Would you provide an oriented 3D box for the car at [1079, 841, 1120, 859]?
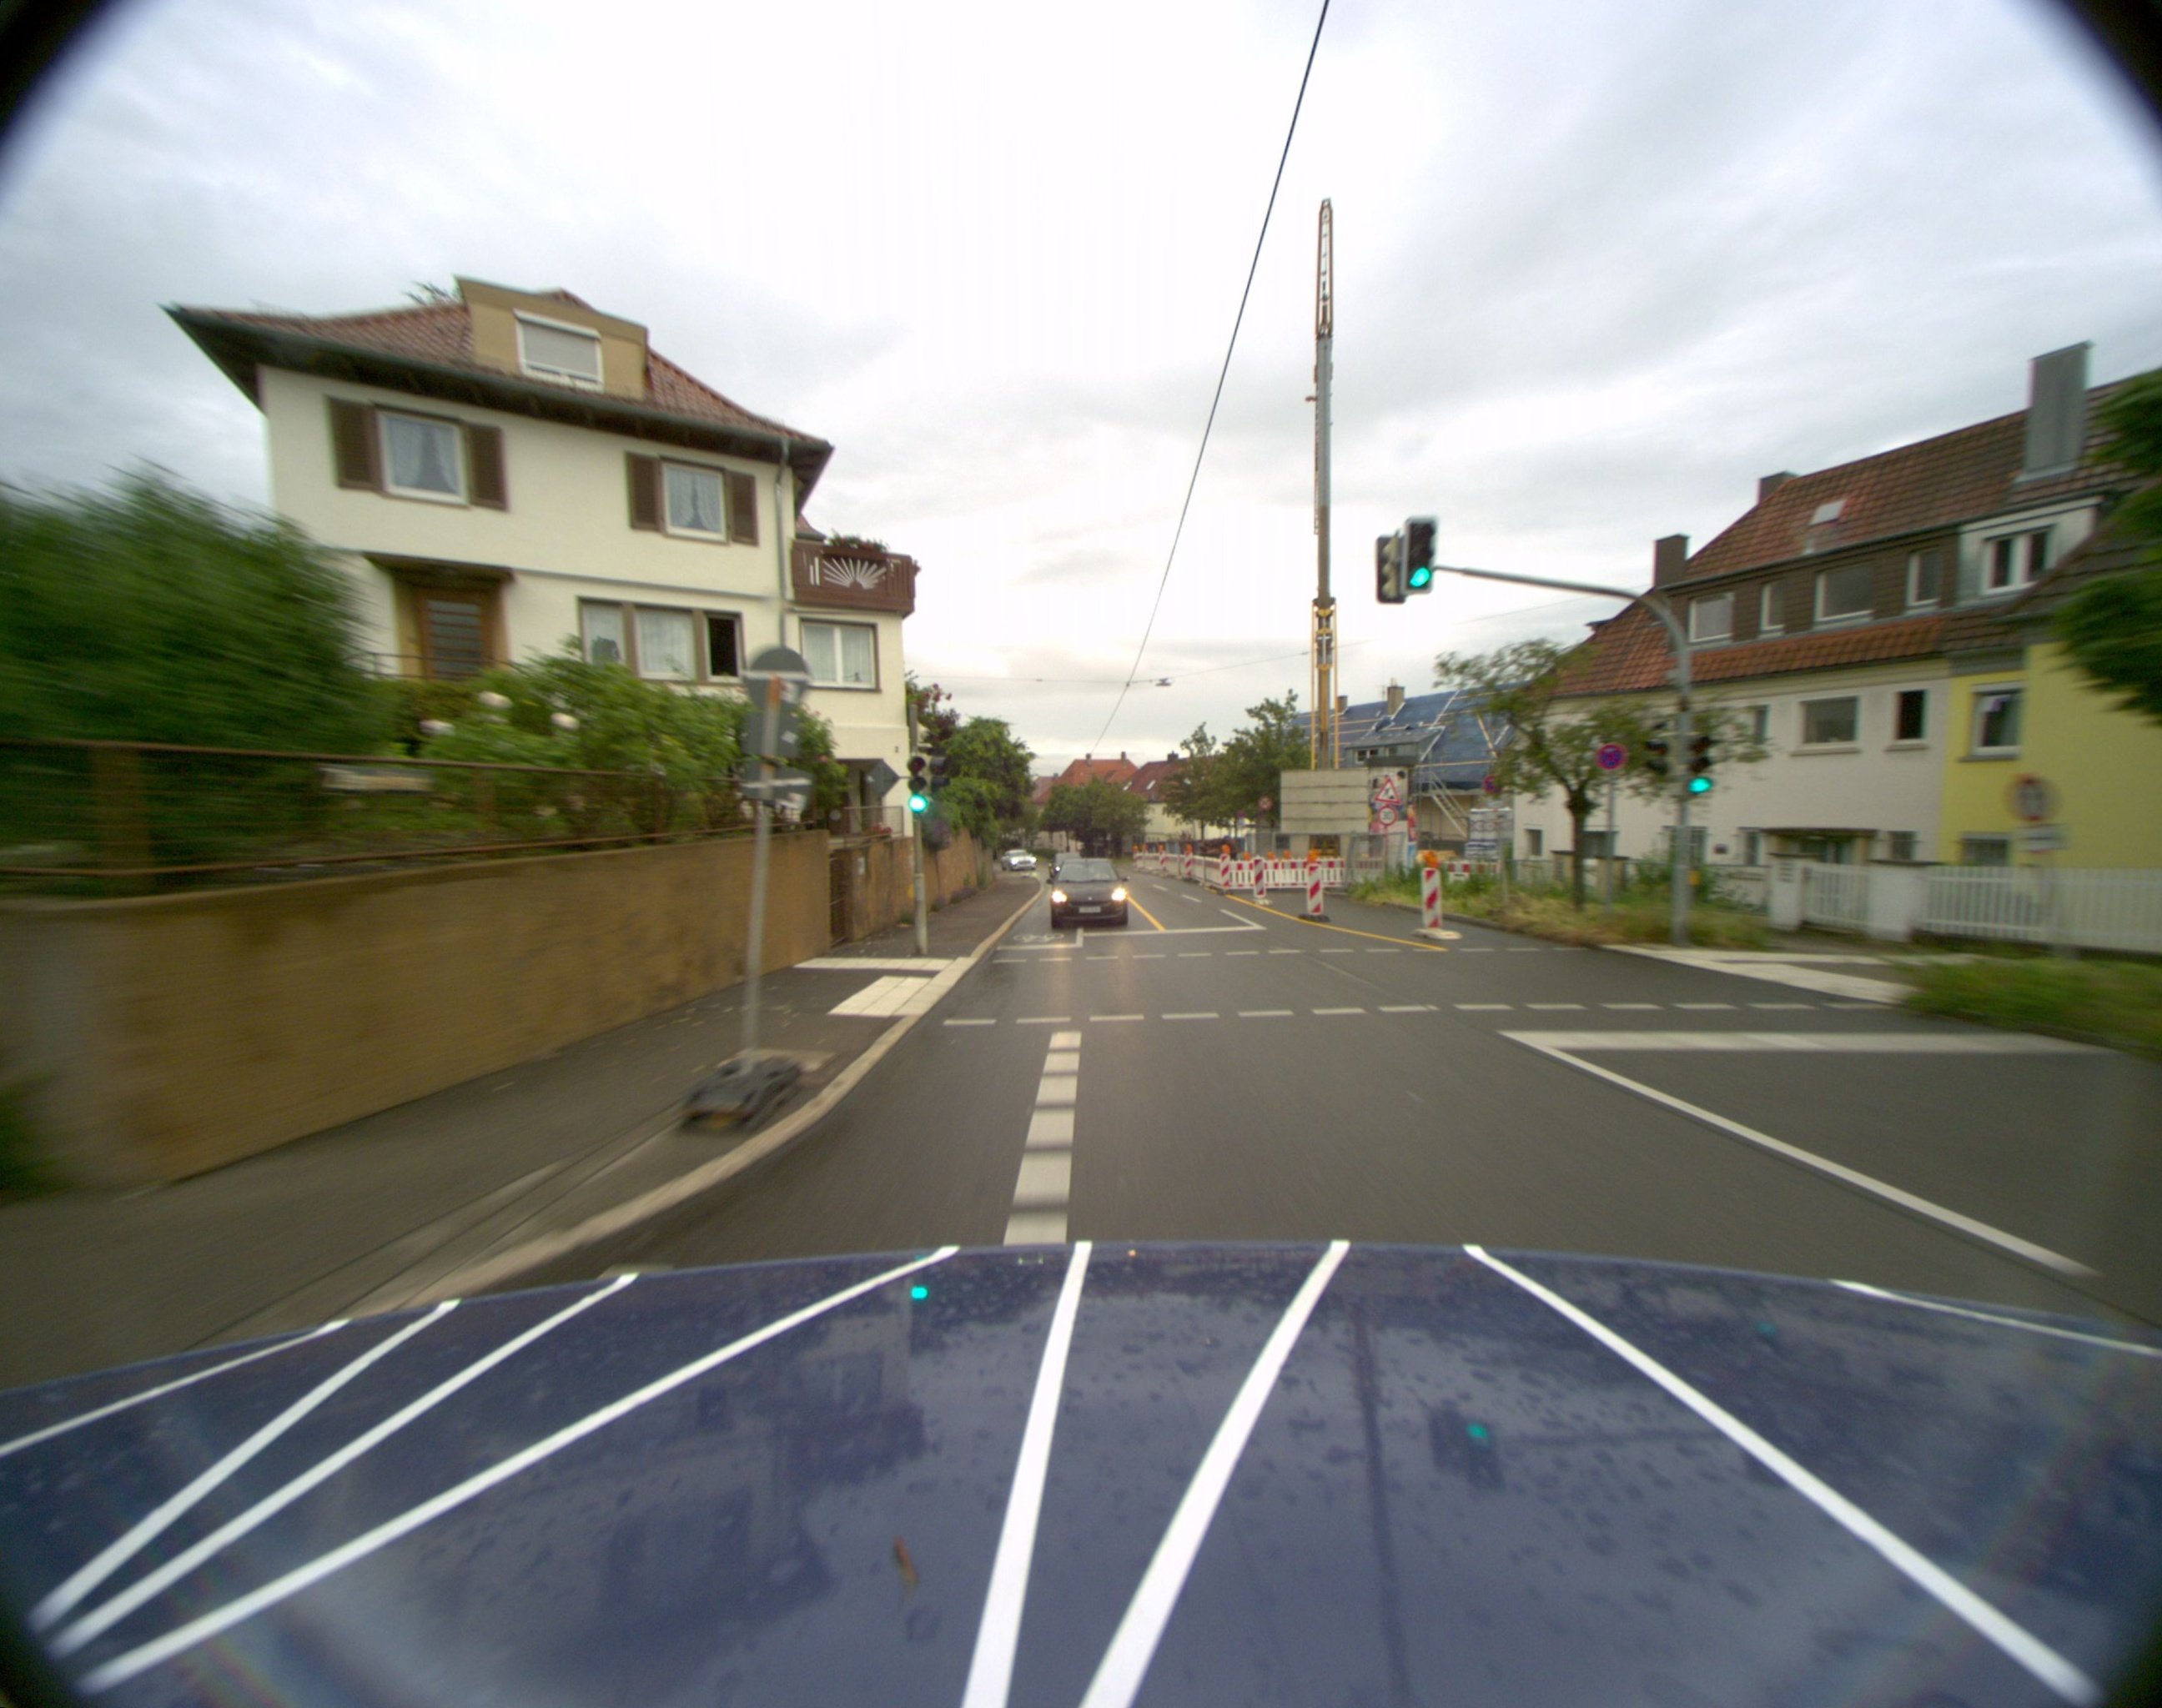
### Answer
[{"bbox_3d":[2.076,-0.472,83.950,3.956,1.535,1.859,-8,4,-26],"label":"car"}]

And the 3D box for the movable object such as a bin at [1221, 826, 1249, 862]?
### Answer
[{"bbox_3d":[11.109,-0.716,54.924,1.318,2.491,1.383,-3,2,-24],"label":"movable object such as a bin"}]

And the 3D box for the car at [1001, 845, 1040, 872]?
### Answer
[{"bbox_3d":[-4.892,0.307,61.177,2.020,1.729,4.590,-7,4,-17],"label":"car"}]

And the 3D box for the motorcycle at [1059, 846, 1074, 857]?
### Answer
[{"bbox_3d":[-1.693,-0.280,88.423,0.735,1.241,1.964,-6,2,-31],"label":"motorcycle"}]

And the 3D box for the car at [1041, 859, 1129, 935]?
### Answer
[{"bbox_3d":[0.147,0.899,17.895,1.746,1.433,4.359,-3,0,1],"label":"car"}]
